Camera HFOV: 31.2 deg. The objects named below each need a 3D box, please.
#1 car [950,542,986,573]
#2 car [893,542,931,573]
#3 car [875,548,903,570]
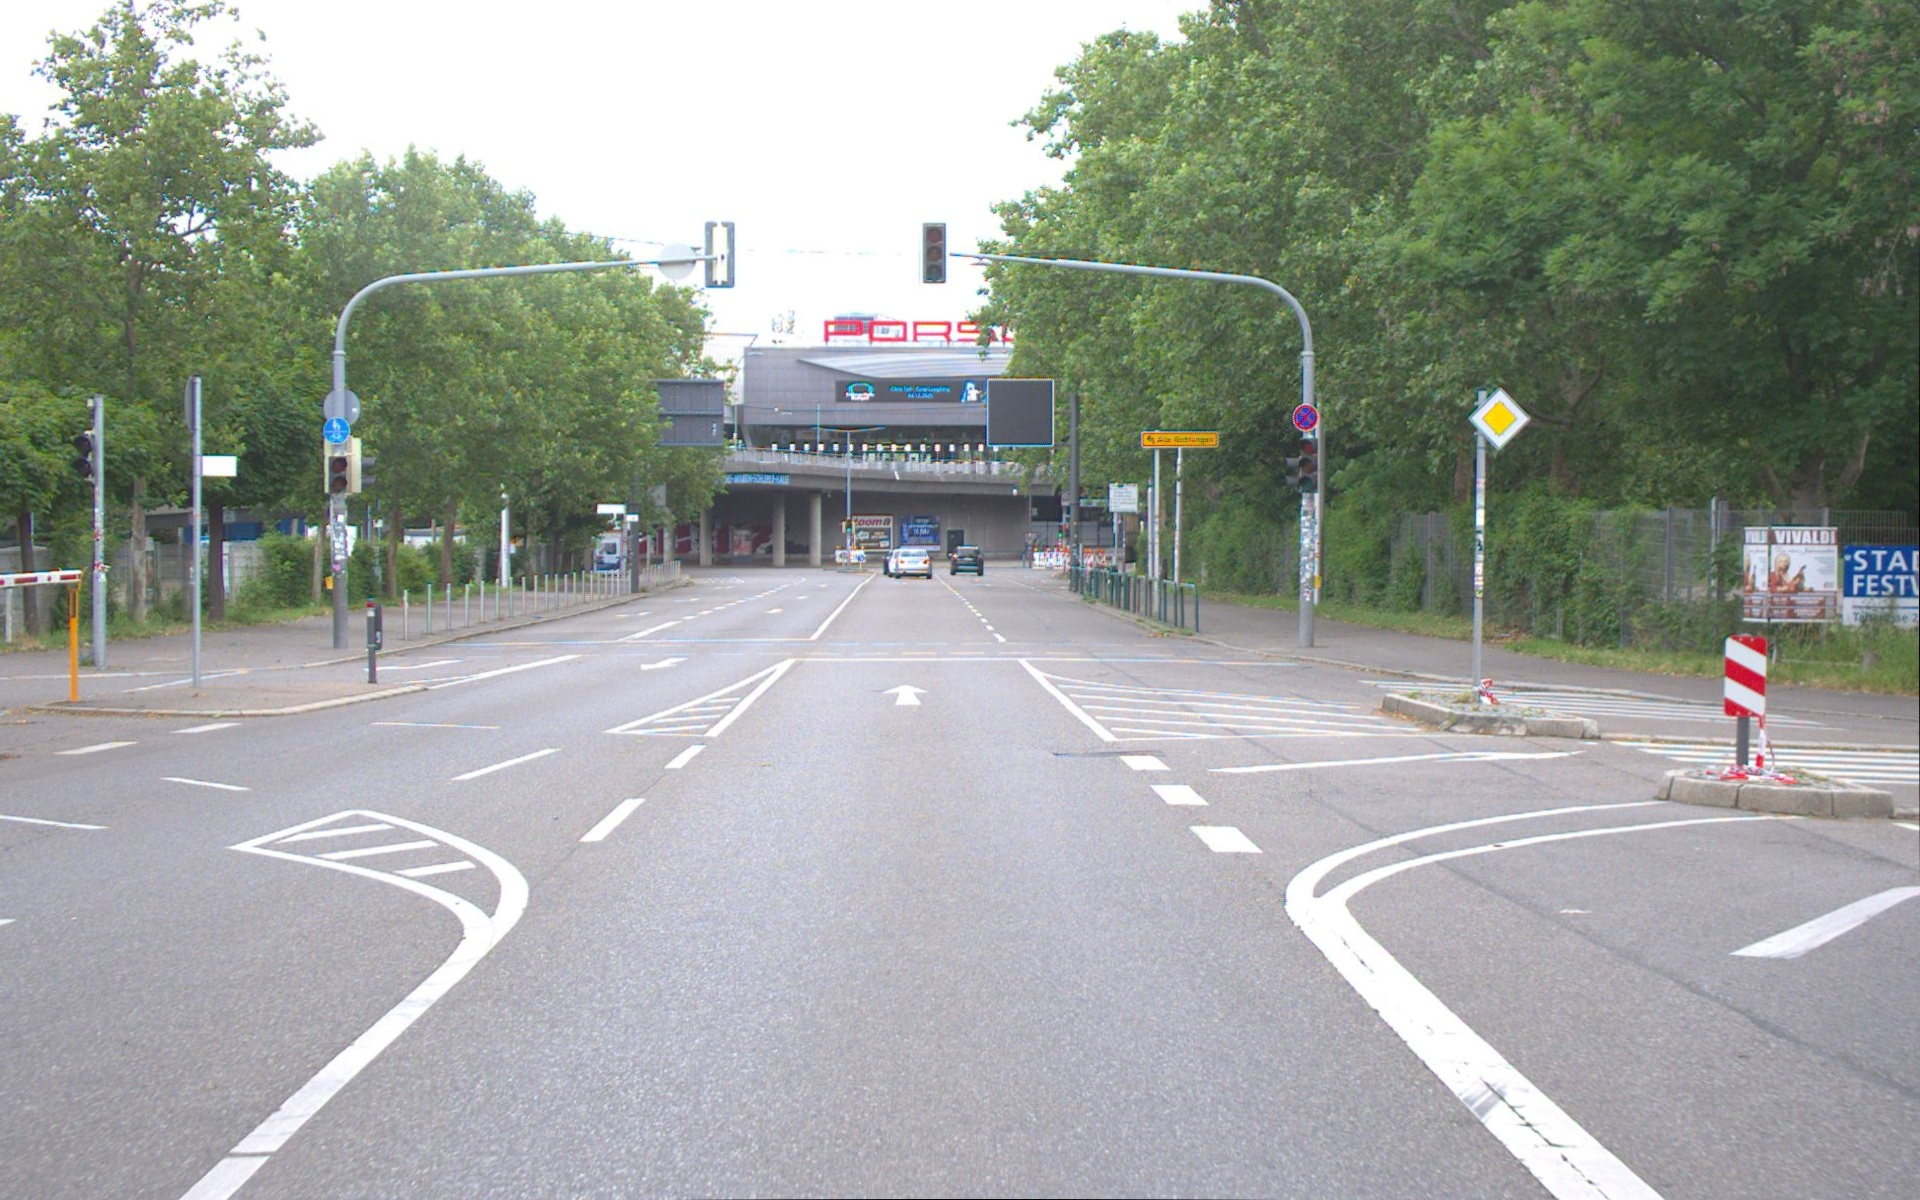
[{"bbox_3d":[0.485,-2.447,197.775,2.007,1.693,4.069,1,1,0],"label":"car"},{"bbox_3d":[-2.386,-2.113,171.541,1.778,1.455,3.822,2,1,0],"label":"car"},{"bbox_3d":[-3.741,-2.179,180.587,1.411,1.109,3.038,1,1,0],"label":"car"}]
